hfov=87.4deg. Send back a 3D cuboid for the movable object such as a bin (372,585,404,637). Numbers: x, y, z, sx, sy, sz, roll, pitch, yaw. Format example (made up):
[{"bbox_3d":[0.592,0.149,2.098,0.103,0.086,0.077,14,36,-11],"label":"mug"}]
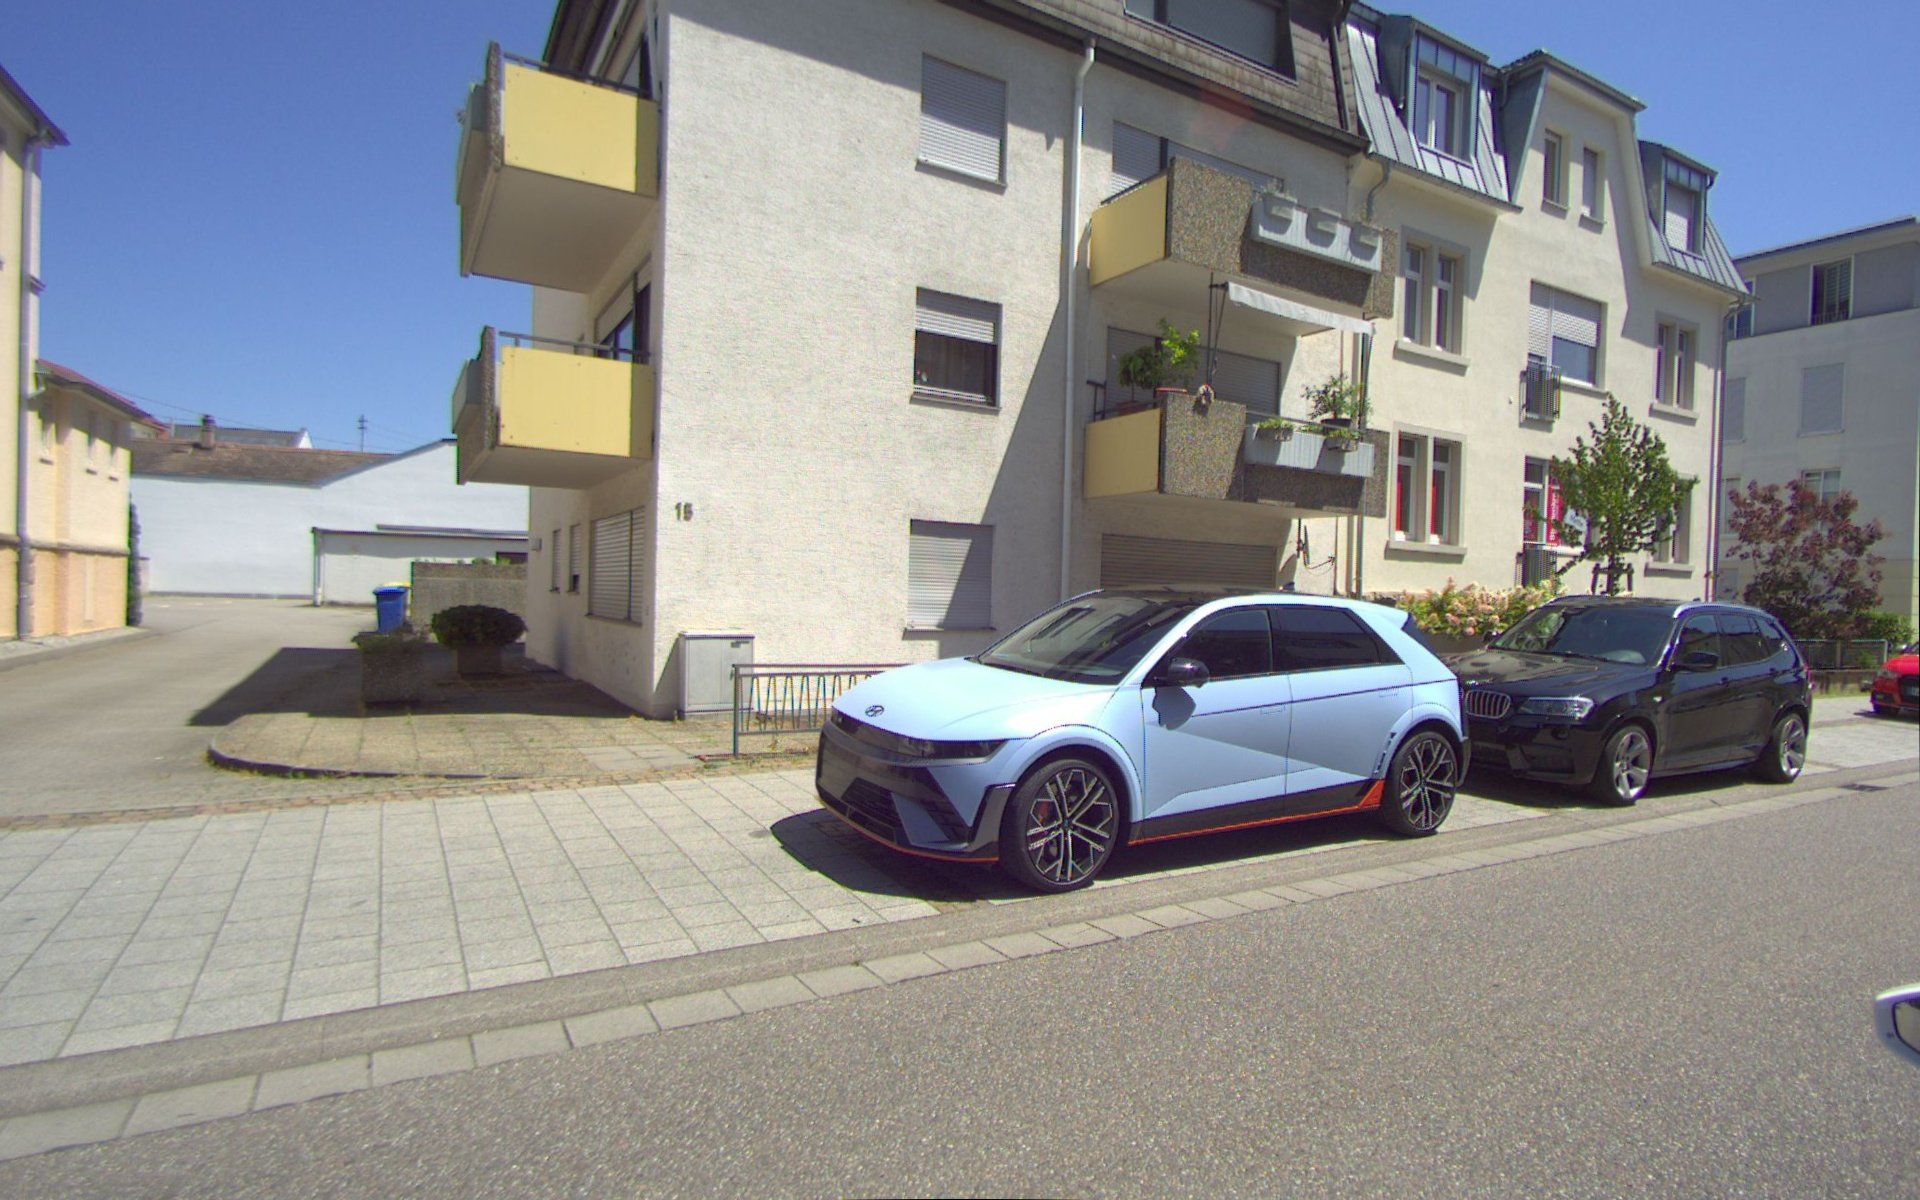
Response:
[{"bbox_3d":[-13.633,0.263,23.954,0.637,1.199,0.492,1,0,-30],"label":"movable object such as a bin"}]

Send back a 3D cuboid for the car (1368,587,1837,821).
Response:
[{"bbox_3d":[6.036,0.804,9.306,4.517,1.641,1.716,1,3,-30],"label":"car"}]

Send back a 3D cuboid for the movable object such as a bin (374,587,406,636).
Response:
[{"bbox_3d":[-13.316,0.266,23.466,0.637,1.144,0.492,1,0,-30],"label":"movable object such as a bin"}]

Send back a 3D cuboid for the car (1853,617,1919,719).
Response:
[{"bbox_3d":[15.710,1.058,15.497,3.858,1.438,1.642,1,3,-29],"label":"car"}]

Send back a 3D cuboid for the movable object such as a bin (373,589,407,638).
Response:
[{"bbox_3d":[-13.046,0.305,22.997,0.637,1.091,0.492,1,0,-30],"label":"movable object such as a bin"}]

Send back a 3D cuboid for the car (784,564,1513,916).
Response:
[{"bbox_3d":[1.362,0.673,6.695,4.604,1.594,1.916,1,3,-30],"label":"car"}]
